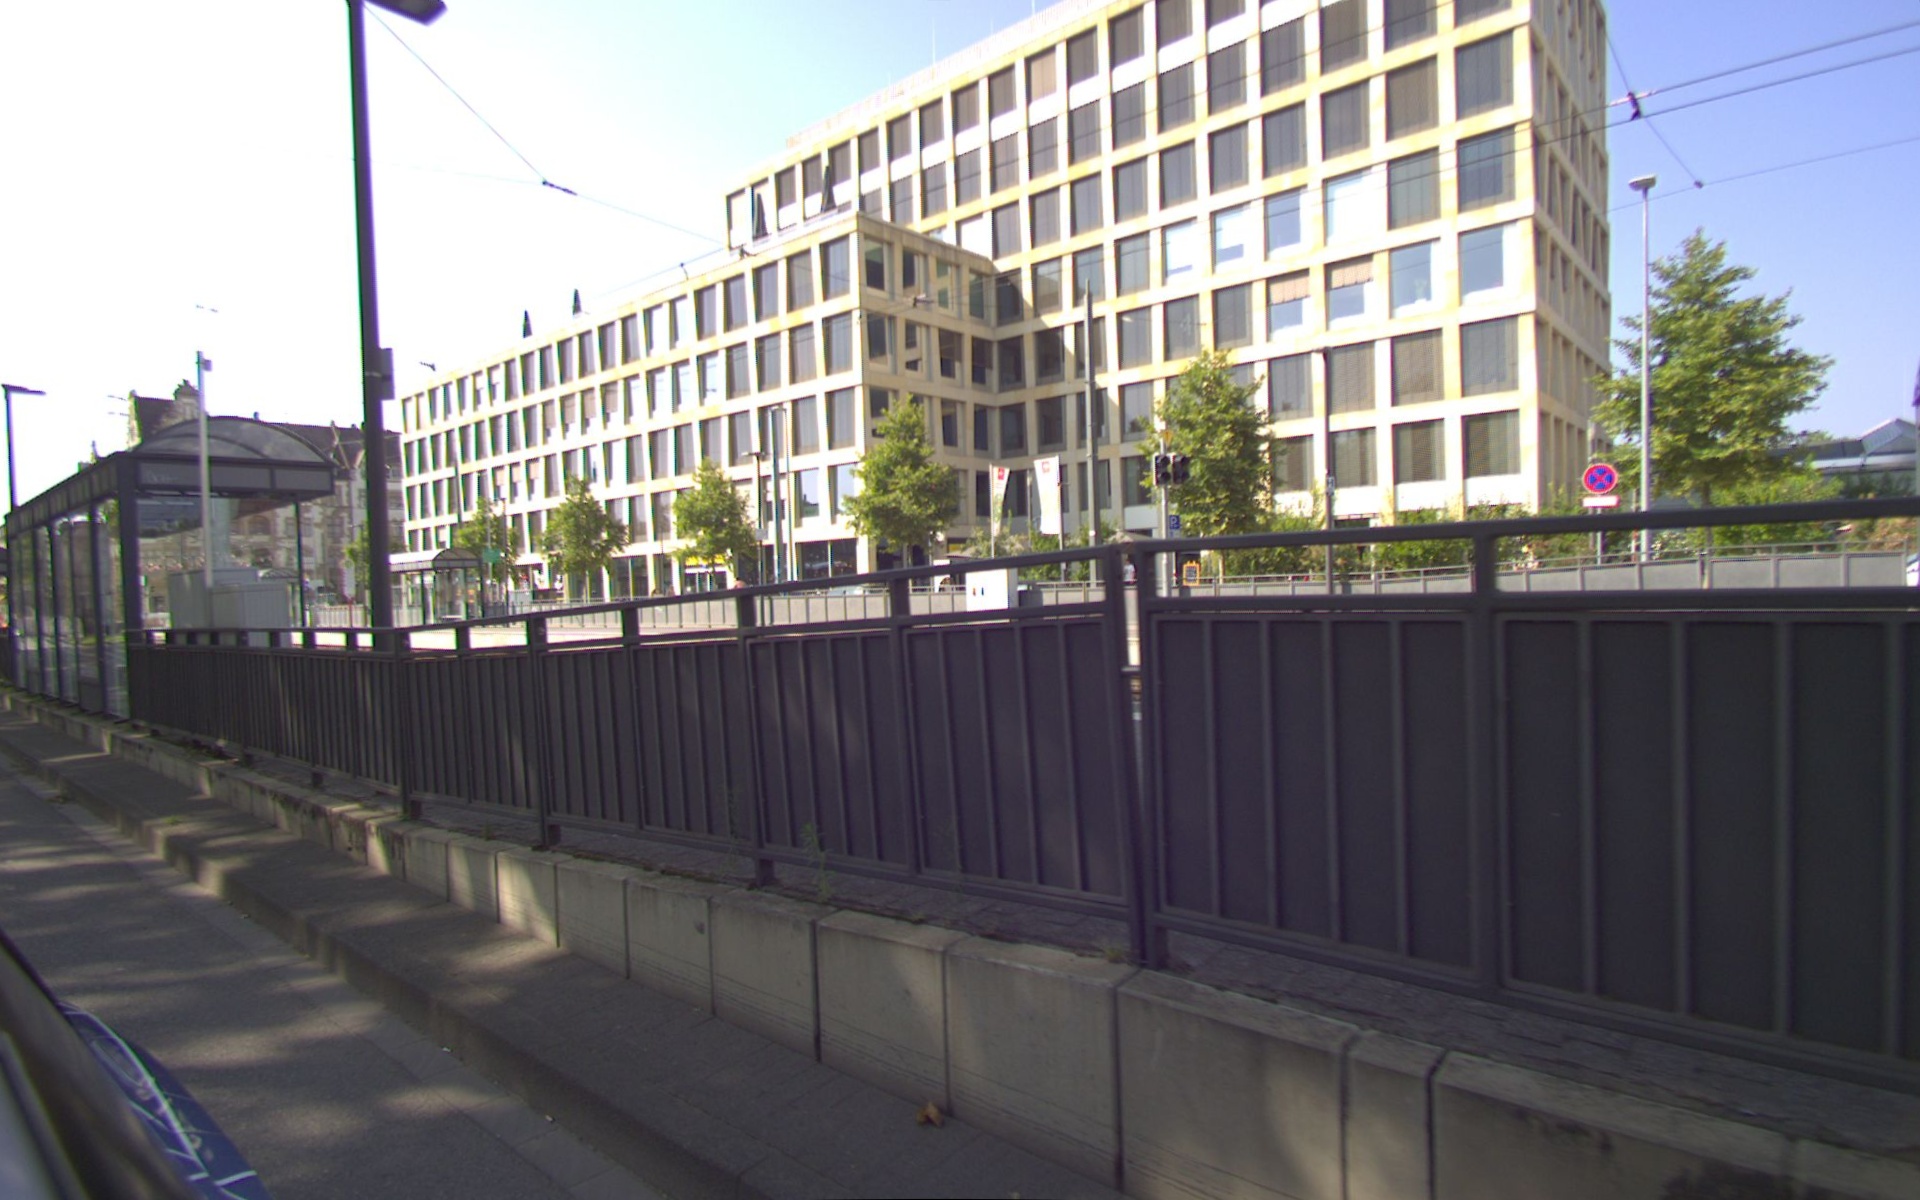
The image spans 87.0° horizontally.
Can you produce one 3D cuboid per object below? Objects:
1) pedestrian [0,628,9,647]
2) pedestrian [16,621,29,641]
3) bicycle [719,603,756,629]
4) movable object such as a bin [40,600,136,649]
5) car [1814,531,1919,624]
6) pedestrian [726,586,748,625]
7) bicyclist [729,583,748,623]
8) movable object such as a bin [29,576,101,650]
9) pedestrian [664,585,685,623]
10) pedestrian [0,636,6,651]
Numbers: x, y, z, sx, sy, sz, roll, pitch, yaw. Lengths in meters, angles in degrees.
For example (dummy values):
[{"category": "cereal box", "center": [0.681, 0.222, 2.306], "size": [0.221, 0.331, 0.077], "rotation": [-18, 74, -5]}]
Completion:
[{"category": "pedestrian", "center": [-60.349, 2.367, 63.565], "size": [0.692, 1.163, 0.589], "rotation": [-2, 0, -10]}, {"category": "pedestrian", "center": [-80.509, 2.653, 86.920], "size": [0.678, 1.715, 0.743], "rotation": [-2, 0, 40]}, {"category": "bicycle", "center": [-7.797, 0.569, 35.479], "size": [1.575, 0.886, 0.384], "rotation": [-2, 0, 41]}, {"category": "movable object such as a bin", "center": [-62.605, 1.739, 72.721], "size": [3.548, 3.247, 4.091], "rotation": [-2, 0, 25]}, {"category": "car", "center": [17.503, -0.411, 17.484], "size": [4.128, 1.586, 1.746], "rotation": [-1, 0, 40]}, {"category": "pedestrian", "center": [-11.803, 0.290, 53.528], "size": [0.822, 2.029, 0.758], "rotation": [-1, 0, 44]}, {"category": "bicyclist", "center": [-7.751, 0.111, 35.420], "size": [0.447, 1.371, 0.383], "rotation": [-2, 0, 41]}, {"category": "movable object such as a bin", "center": [-57.859, 0.848, 65.419], "size": [4.211, 4.588, 2.955], "rotation": [-2, 0, 43]}, {"category": "pedestrian", "center": [-15.467, 0.200, 54.771], "size": [0.822, 2.029, 0.758], "rotation": [-2, 0, 45]}, {"category": "pedestrian", "center": [-80.300, 3.652, 84.636], "size": [0.547, 1.256, 0.669], "rotation": [-2, 0, 39]}]
